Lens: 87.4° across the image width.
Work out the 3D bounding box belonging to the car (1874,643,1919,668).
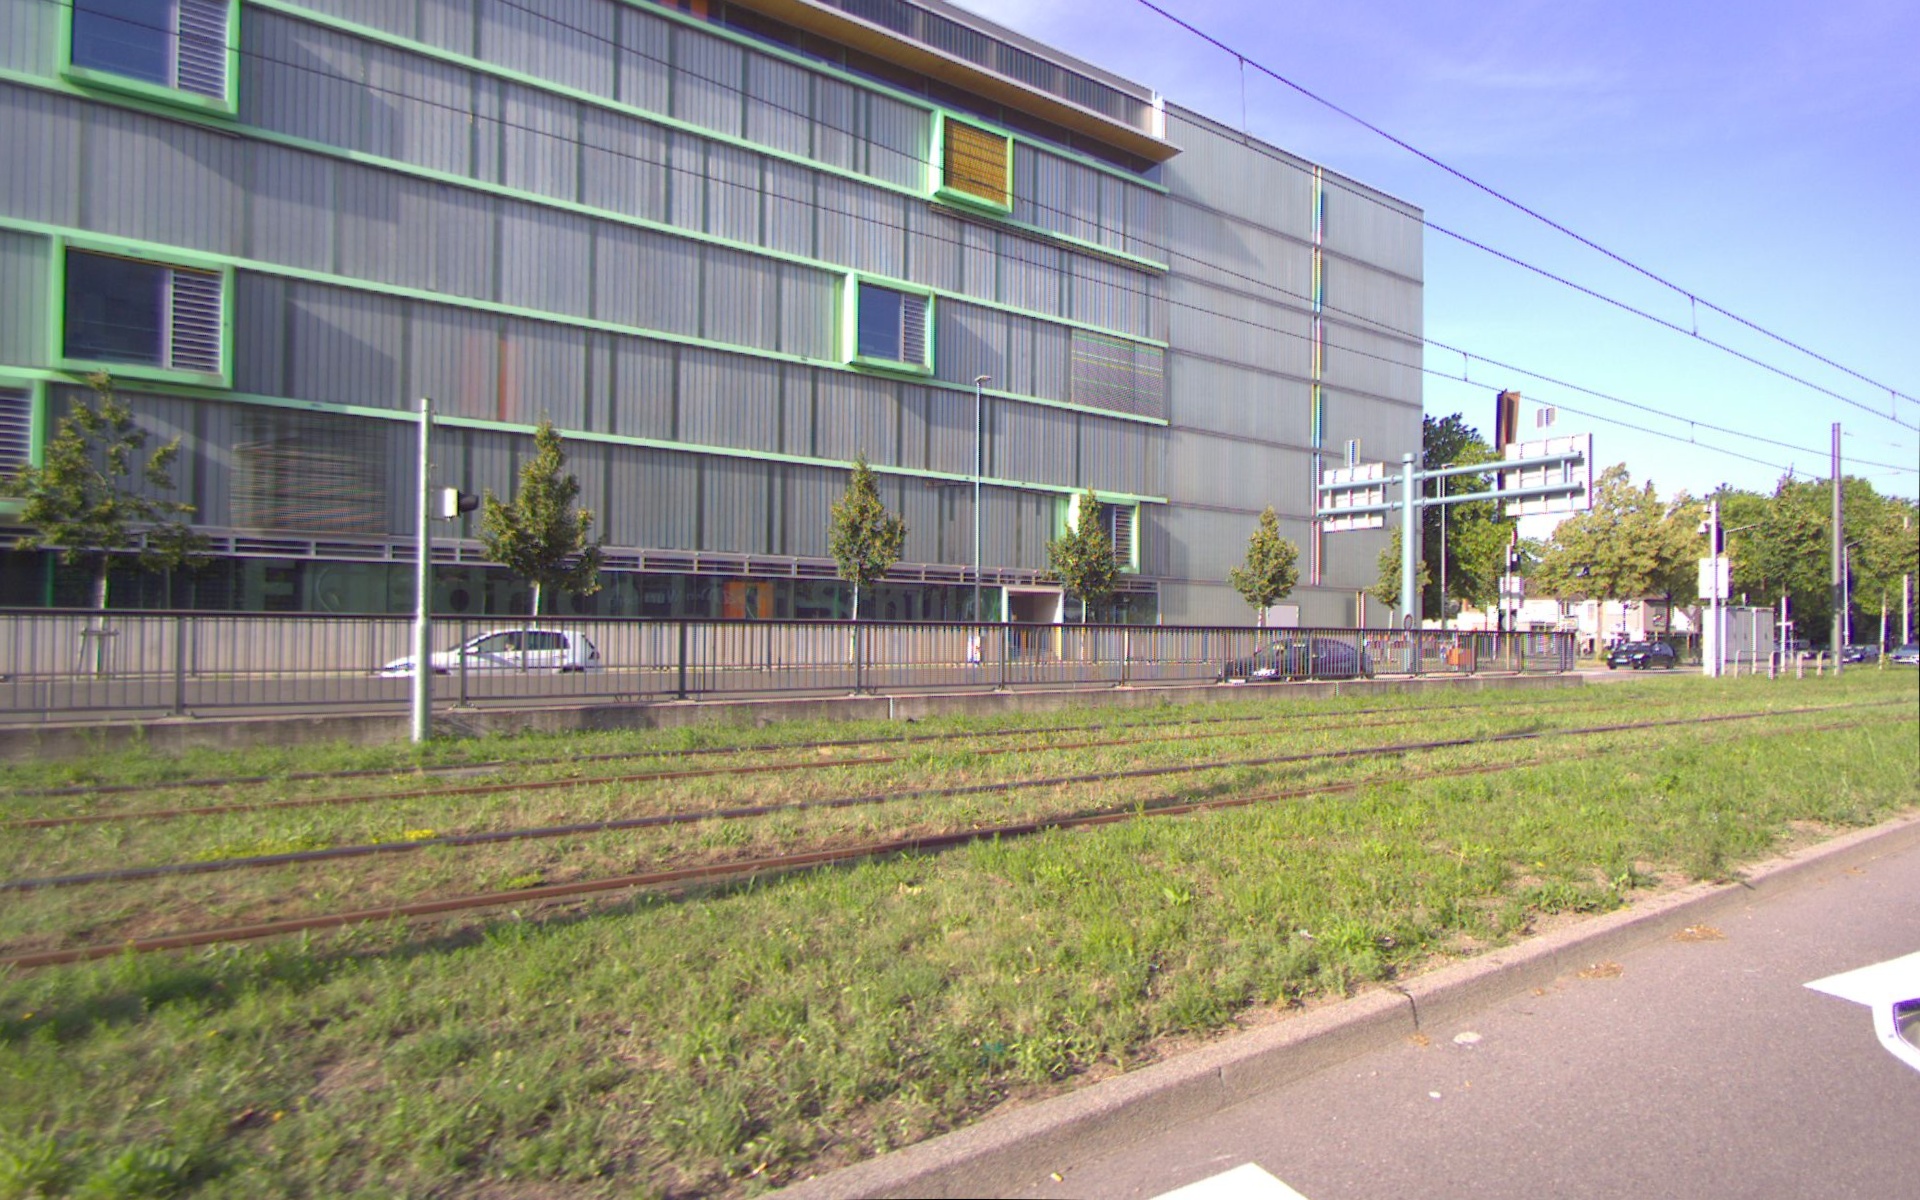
[{"bbox_3d":[61.122,3.581,64.896,4.863,1.547,1.982,1,-5,-35],"label":"car"}]

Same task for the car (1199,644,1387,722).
[{"bbox_3d":[8.201,1.949,24.593,4.678,1.709,1.981,2,-2,-34],"label":"car"}]

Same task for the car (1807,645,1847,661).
[{"bbox_3d":[89.651,5.477,103.806,3.951,1.580,1.874,2,-2,-28],"label":"car"}]

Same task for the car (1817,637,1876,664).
[{"bbox_3d":[60.751,3.444,68.803,4.569,1.709,1.981,2,-2,-34],"label":"car"}]

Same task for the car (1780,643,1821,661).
[{"bbox_3d":[84.432,5.229,100.860,3.951,1.773,1.874,2,-2,-28],"label":"car"}]

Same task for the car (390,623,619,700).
[{"bbox_3d":[-9.462,1.233,20.993,4.142,1.441,1.650,1,-2,-34],"label":"car"}]

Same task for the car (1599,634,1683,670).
[{"bbox_3d":[34.549,2.628,50.948,4.678,1.709,1.981,2,-2,-34],"label":"car"}]

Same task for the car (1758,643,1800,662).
[{"bbox_3d":[80.340,5.110,98.525,3.951,1.773,1.874,2,-2,-28],"label":"car"}]
